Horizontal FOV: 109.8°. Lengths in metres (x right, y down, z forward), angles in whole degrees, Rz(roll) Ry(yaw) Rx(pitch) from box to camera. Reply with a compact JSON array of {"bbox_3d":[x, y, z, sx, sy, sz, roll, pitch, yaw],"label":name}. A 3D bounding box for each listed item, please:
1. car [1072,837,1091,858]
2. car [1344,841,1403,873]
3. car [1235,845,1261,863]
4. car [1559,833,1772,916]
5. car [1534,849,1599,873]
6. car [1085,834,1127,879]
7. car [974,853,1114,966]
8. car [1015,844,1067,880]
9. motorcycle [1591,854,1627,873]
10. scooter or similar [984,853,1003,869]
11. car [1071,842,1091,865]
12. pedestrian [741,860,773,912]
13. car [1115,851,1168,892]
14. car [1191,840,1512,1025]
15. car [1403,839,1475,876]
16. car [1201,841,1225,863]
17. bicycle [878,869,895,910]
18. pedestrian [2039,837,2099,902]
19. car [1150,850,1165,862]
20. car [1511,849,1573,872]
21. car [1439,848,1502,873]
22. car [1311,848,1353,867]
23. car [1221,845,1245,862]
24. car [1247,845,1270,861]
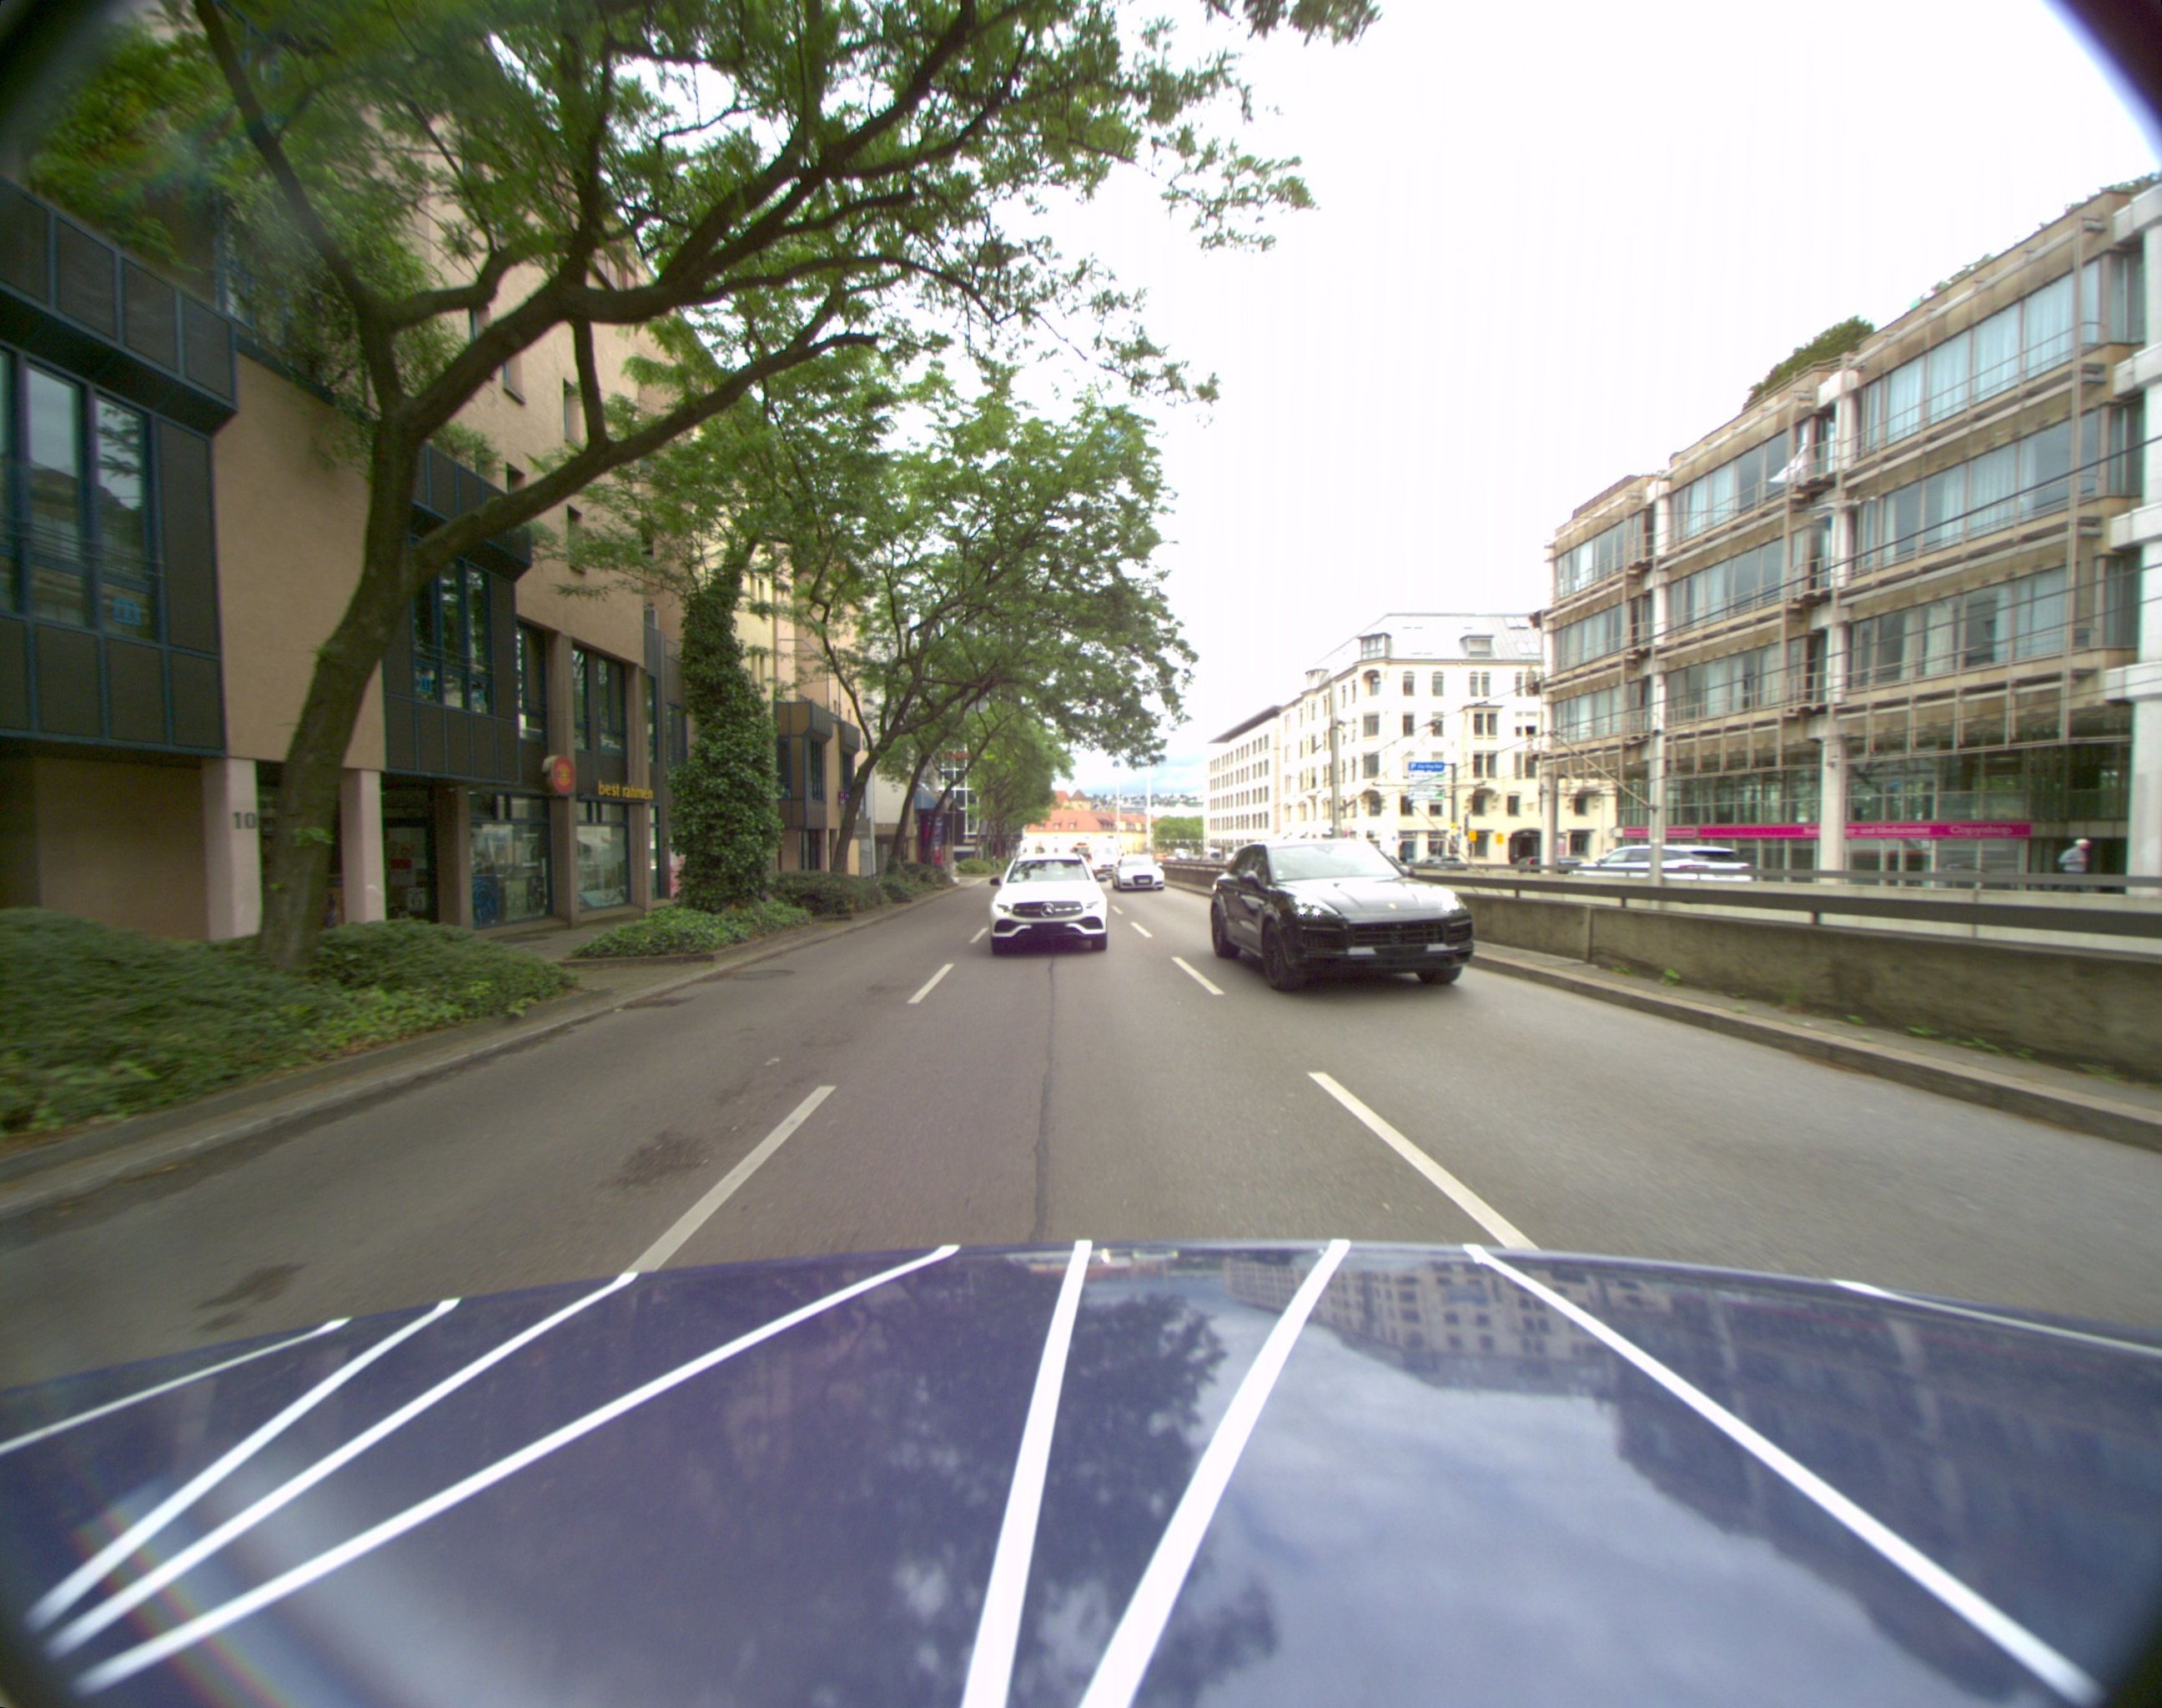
[{"bbox_3d":[0.055,-0.947,105.058,2.503,2.793,5.727,-2,1,0],"label":"car"},{"bbox_3d":[20.368,0.157,53.207,1.999,1.952,4.788,-5,1,-2],"label":"car"},{"bbox_3d":[20.077,-0.047,91.620,1.999,2.002,4.789,-2,1,-1],"label":"car"},{"bbox_3d":[15.302,0.454,20.294,1.839,1.831,4.603,-5,1,-4],"label":"car"},{"bbox_3d":[34.150,0.479,53.501,3.599,1.652,1.649,0,1,-5],"label":"car"},{"bbox_3d":[1.711,0.122,50.362,2.294,2.723,4.755,-2,1,6],"label":"car"},{"bbox_3d":[-0.599,0.834,13.434,2.060,1.599,3.926,-2,1,-1],"label":"car"},{"bbox_3d":[-2.546,0.458,49.971,2.502,2.145,5.729,-2,1,6],"label":"car"},{"bbox_3d":[30.900,0.555,44.503,0.645,1.069,1.670,-3,1,-21],"label":"motorcycle"},{"bbox_3d":[-8.239,0.636,71.454,1.536,1.426,0.686,-3,1,-32],"label":"scooter or similar"},{"bbox_3d":[0.008,-0.094,97.847,2.503,2.793,5.727,-2,1,0],"label":"car"},{"bbox_3d":[-10.647,1.039,24.997,0.711,1.701,0.688,-1,0,5],"label":"pedestrian"},{"bbox_3d":[2.495,0.696,32.335,1.949,1.521,4.000,-2,1,1],"label":"car"},{"bbox_3d":[2.937,0.737,9.810,2.088,1.665,5.351,-2,0,-1],"label":"car"},{"bbox_3d":[20.657,0.146,44.005,1.999,1.903,4.377,-2,2,-1],"label":"car"},{"bbox_3d":[19.236,-0.260,110.955,2.370,3.043,5.468,-2,1,-1],"label":"car"},{"bbox_3d":[-6.121,1.092,23.960,0.362,1.194,1.569,-1,1,-9],"label":"bicycle"},{"bbox_3d":[27.953,0.420,21.502,0.732,1.782,0.740,-2,1,0],"label":"pedestrian"},{"bbox_3d":[14.176,0.357,140.416,2.115,2.002,4.789,-2,1,-2],"label":"car"},{"bbox_3d":[33.764,0.448,55.710,3.599,1.652,1.649,0,1,-5],"label":"car"},{"bbox_3d":[27.249,0.435,53.214,3.648,1.652,1.649,0,1,-4],"label":"car"},{"bbox_3d":[20.636,0.264,62.641,1.818,1.551,4.641,0,0,-2],"label":"car"},{"bbox_3d":[19.528,-0.073,97.802,1.999,2.002,4.789,-2,1,-1],"label":"car"},{"bbox_3d":[23.196,-0.158,99.479,1.999,2.002,3.999,0,0,-1],"label":"car"}]
